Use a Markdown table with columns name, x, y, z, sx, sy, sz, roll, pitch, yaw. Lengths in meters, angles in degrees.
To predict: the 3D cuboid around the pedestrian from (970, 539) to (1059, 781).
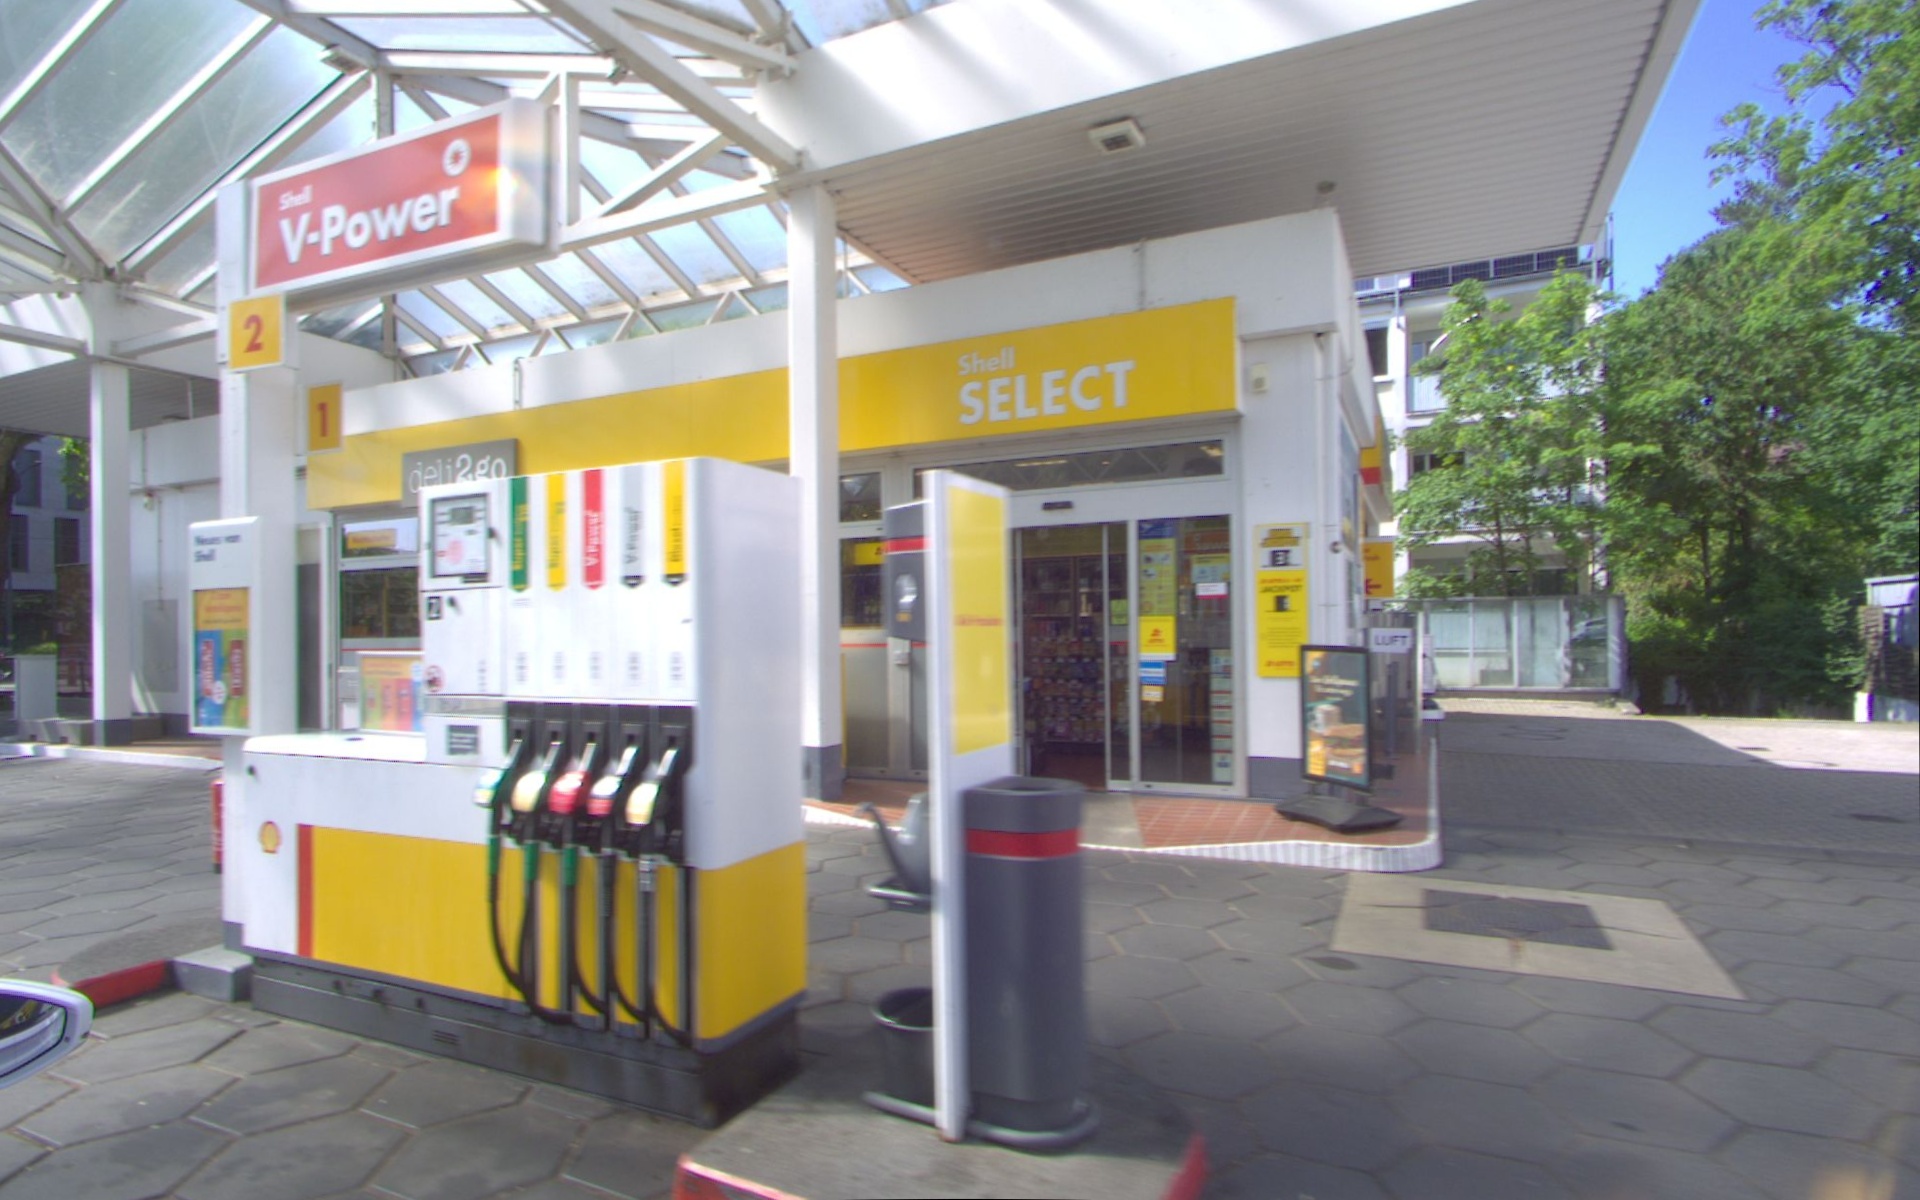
| name | x | y | z | sx | sy | sz | roll | pitch | yaw |
| --- | --- | --- | --- | --- | --- | --- | --- | --- | --- |
| pedestrian | 0.498 | 0.520 | 8.897 | 0.612 | 2.039 | 0.742 | -1 | -1 | 17 |
